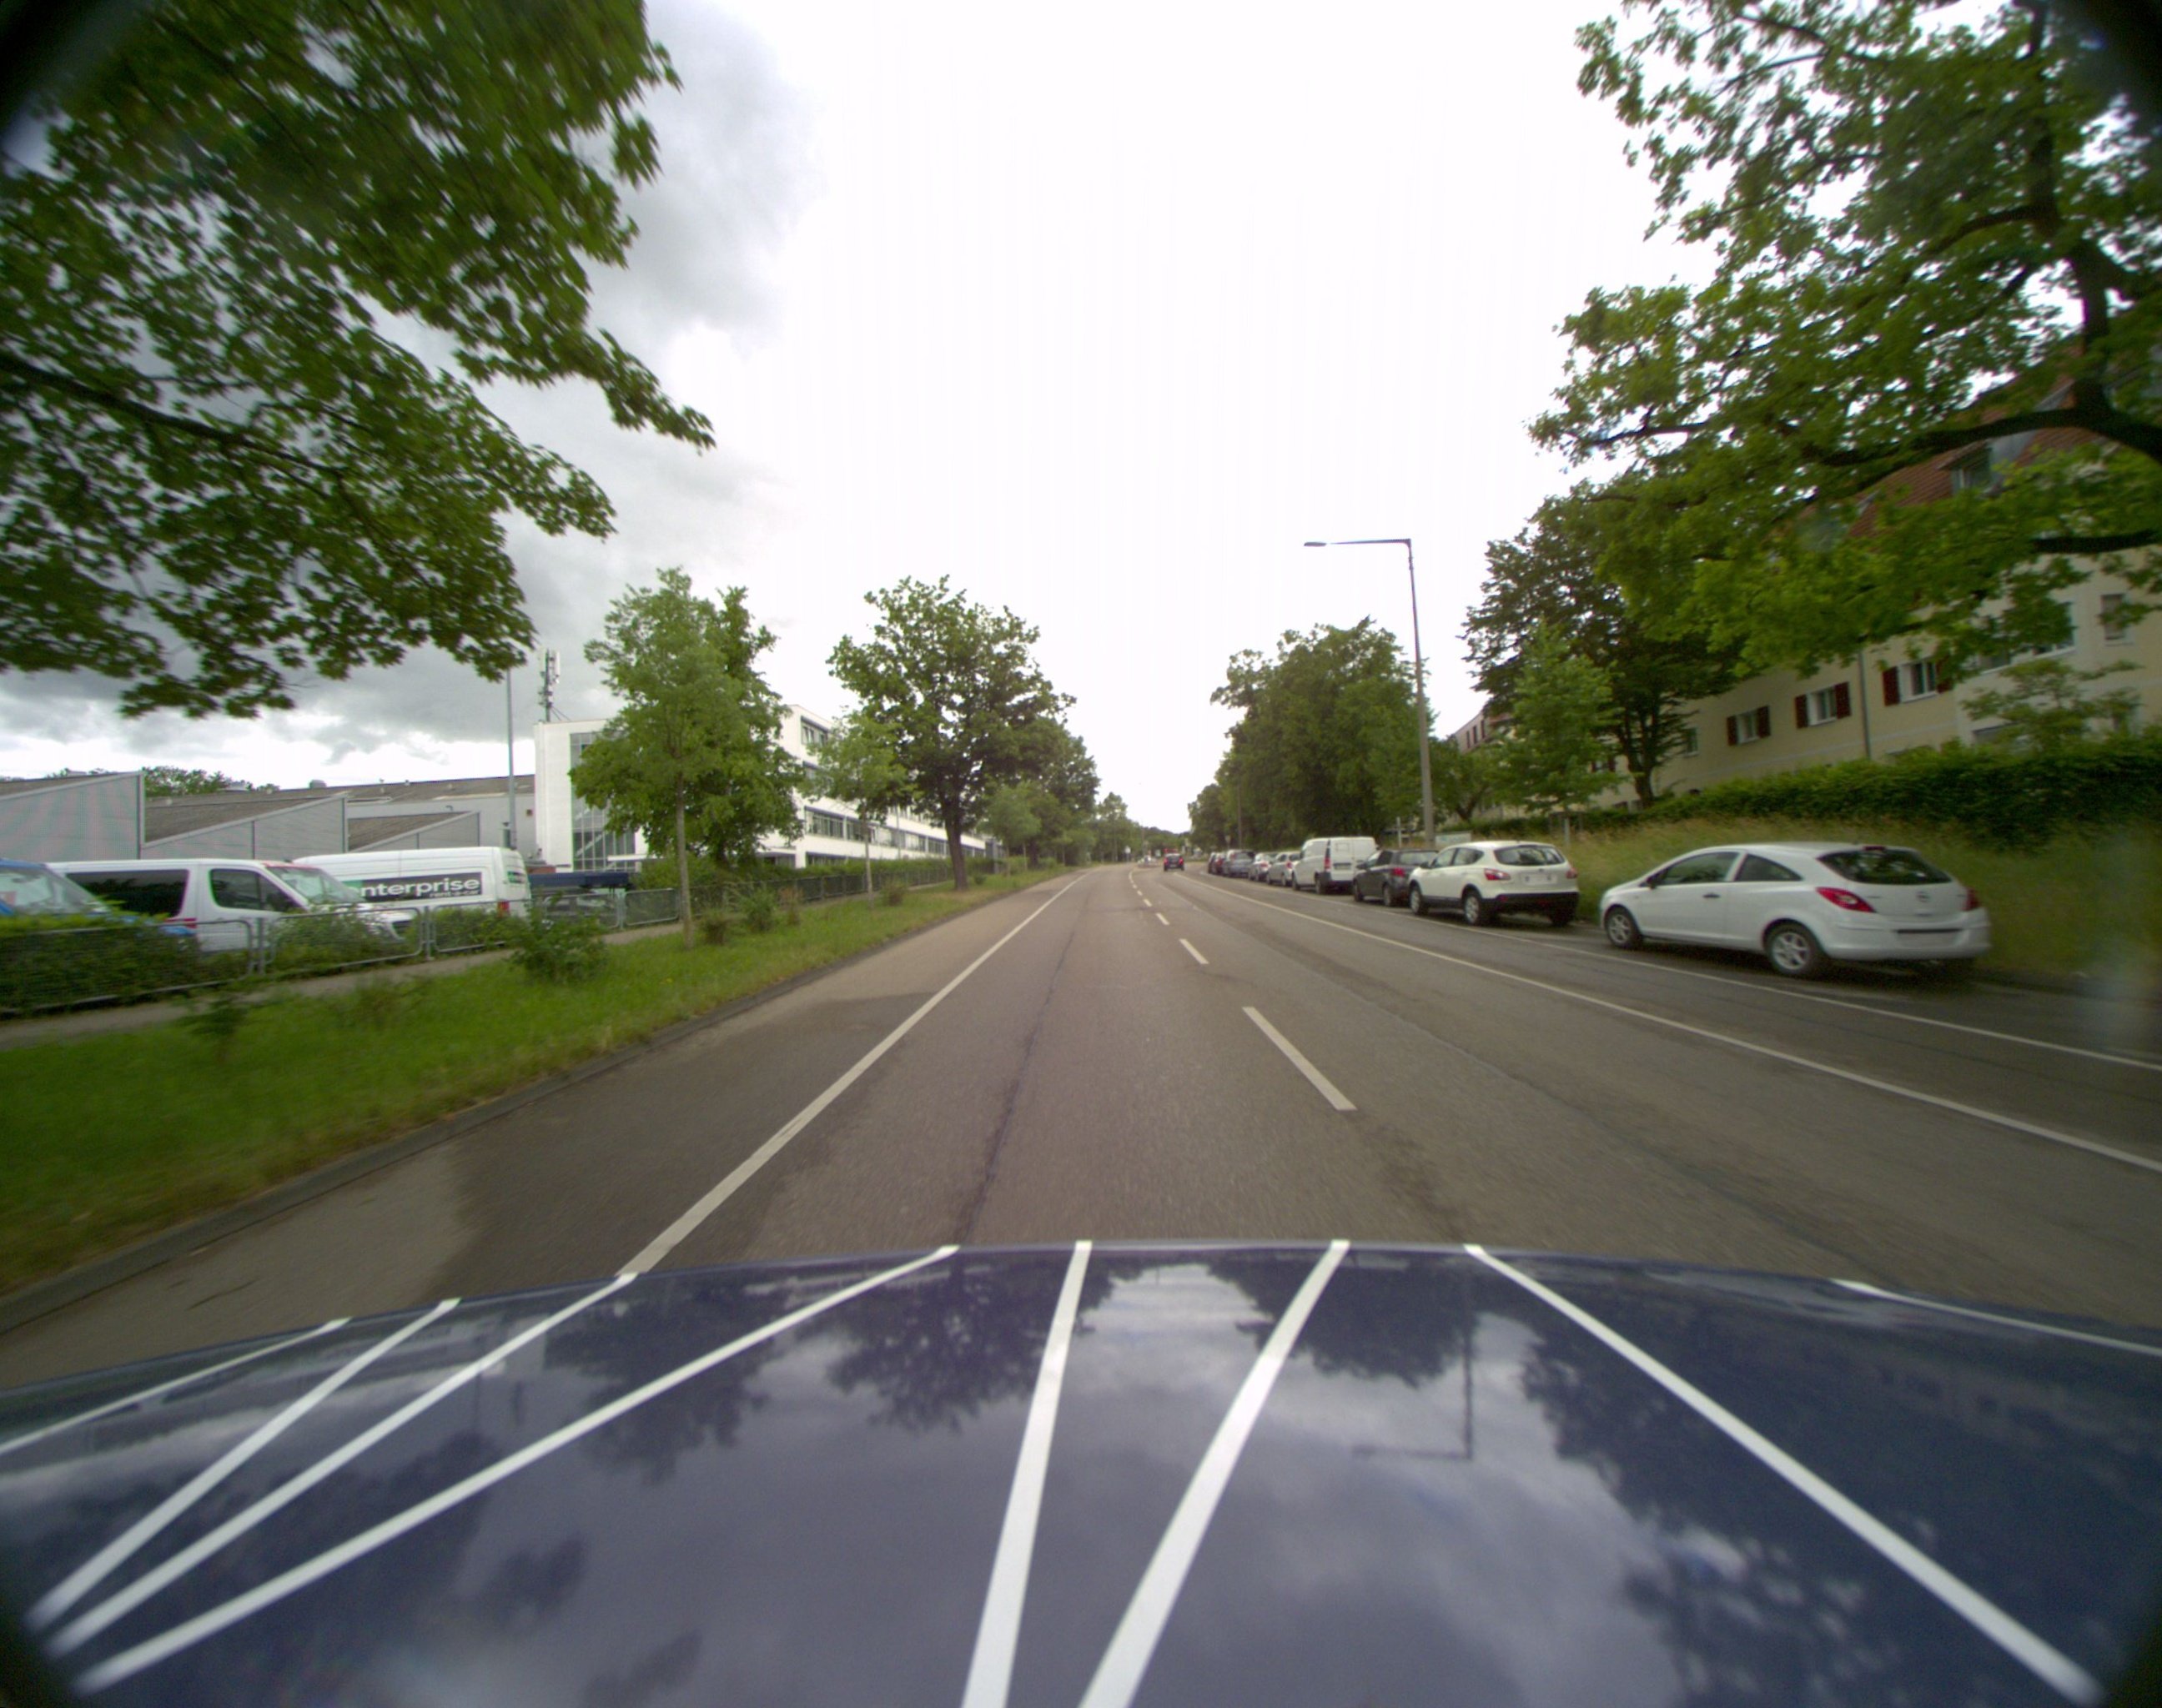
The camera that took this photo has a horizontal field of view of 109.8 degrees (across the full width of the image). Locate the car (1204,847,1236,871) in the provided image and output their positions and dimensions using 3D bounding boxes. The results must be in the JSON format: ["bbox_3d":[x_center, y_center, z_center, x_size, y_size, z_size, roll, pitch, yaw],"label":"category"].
[{"bbox_3d":[9.903,0.299,54.321,1.879,1.561,4.652,-2,0,6],"label":"car"}]

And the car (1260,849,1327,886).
[{"bbox_3d":[9.009,0.550,32.576,1.639,1.425,3.950,-3,0,-1],"label":"car"}]

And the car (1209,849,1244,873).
[{"bbox_3d":[9.454,0.450,49.611,1.771,1.439,4.151,-2,0,5],"label":"car"}]

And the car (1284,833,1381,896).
[{"bbox_3d":[8.719,0.348,26.862,1.772,1.919,5.155,-3,0,1],"label":"car"}]

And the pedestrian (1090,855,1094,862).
[{"bbox_3d":[2.717,1.031,186.974,0.733,1.717,0.502,-1,1,1],"label":"pedestrian"}]

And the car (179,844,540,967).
[{"bbox_3d":[-15.446,1.001,16.761,5.267,2.175,2.068,-3,1,-23],"label":"car"}]

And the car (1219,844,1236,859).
[{"bbox_3d":[18.015,-0.376,93.523,1.878,1.657,4.394,-3,1,12],"label":"car"}]

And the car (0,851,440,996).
[{"bbox_3d":[-14.963,1.082,12.858,5.831,1.945,2.068,-3,1,-20],"label":"car"}]

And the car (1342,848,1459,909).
[{"bbox_3d":[8.506,0.586,20.586,1.677,1.479,4.045,-1,1,4],"label":"car"}]

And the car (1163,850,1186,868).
[{"bbox_3d":[8.234,0.407,66.635,1.640,1.459,4.003,-1,1,11],"label":"car"}]

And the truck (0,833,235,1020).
[{"bbox_3d":[-15.280,1.008,9.194,6.261,2.199,2.242,-3,1,-26],"label":"truck"}]

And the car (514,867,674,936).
[{"bbox_3d":[-17.345,1.596,27.158,4.584,2.023,2.066,-3,1,-38],"label":"car"}]

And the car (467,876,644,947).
[{"bbox_3d":[-16.589,1.754,24.310,4.361,1.833,1.919,-3,1,-27],"label":"car"}]

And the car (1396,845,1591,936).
[{"bbox_3d":[8.112,0.623,15.456,1.677,1.555,4.281,-2,0,1],"label":"car"}]

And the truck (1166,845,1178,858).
[{"bbox_3d":[24.724,-0.684,205.636,2.830,3.460,7.828,-2,0,8],"label":"truck"}]

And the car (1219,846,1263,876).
[{"bbox_3d":[9.308,0.396,44.450,1.772,1.582,4.135,-2,0,2],"label":"car"}]

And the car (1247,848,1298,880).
[{"bbox_3d":[9.508,0.490,38.007,1.772,1.486,4.358,-1,0,4],"label":"car"}]

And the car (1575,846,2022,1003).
[{"bbox_3d":[8.321,0.671,9.438,1.666,1.470,4.089,-2,1,0],"label":"car"}]
